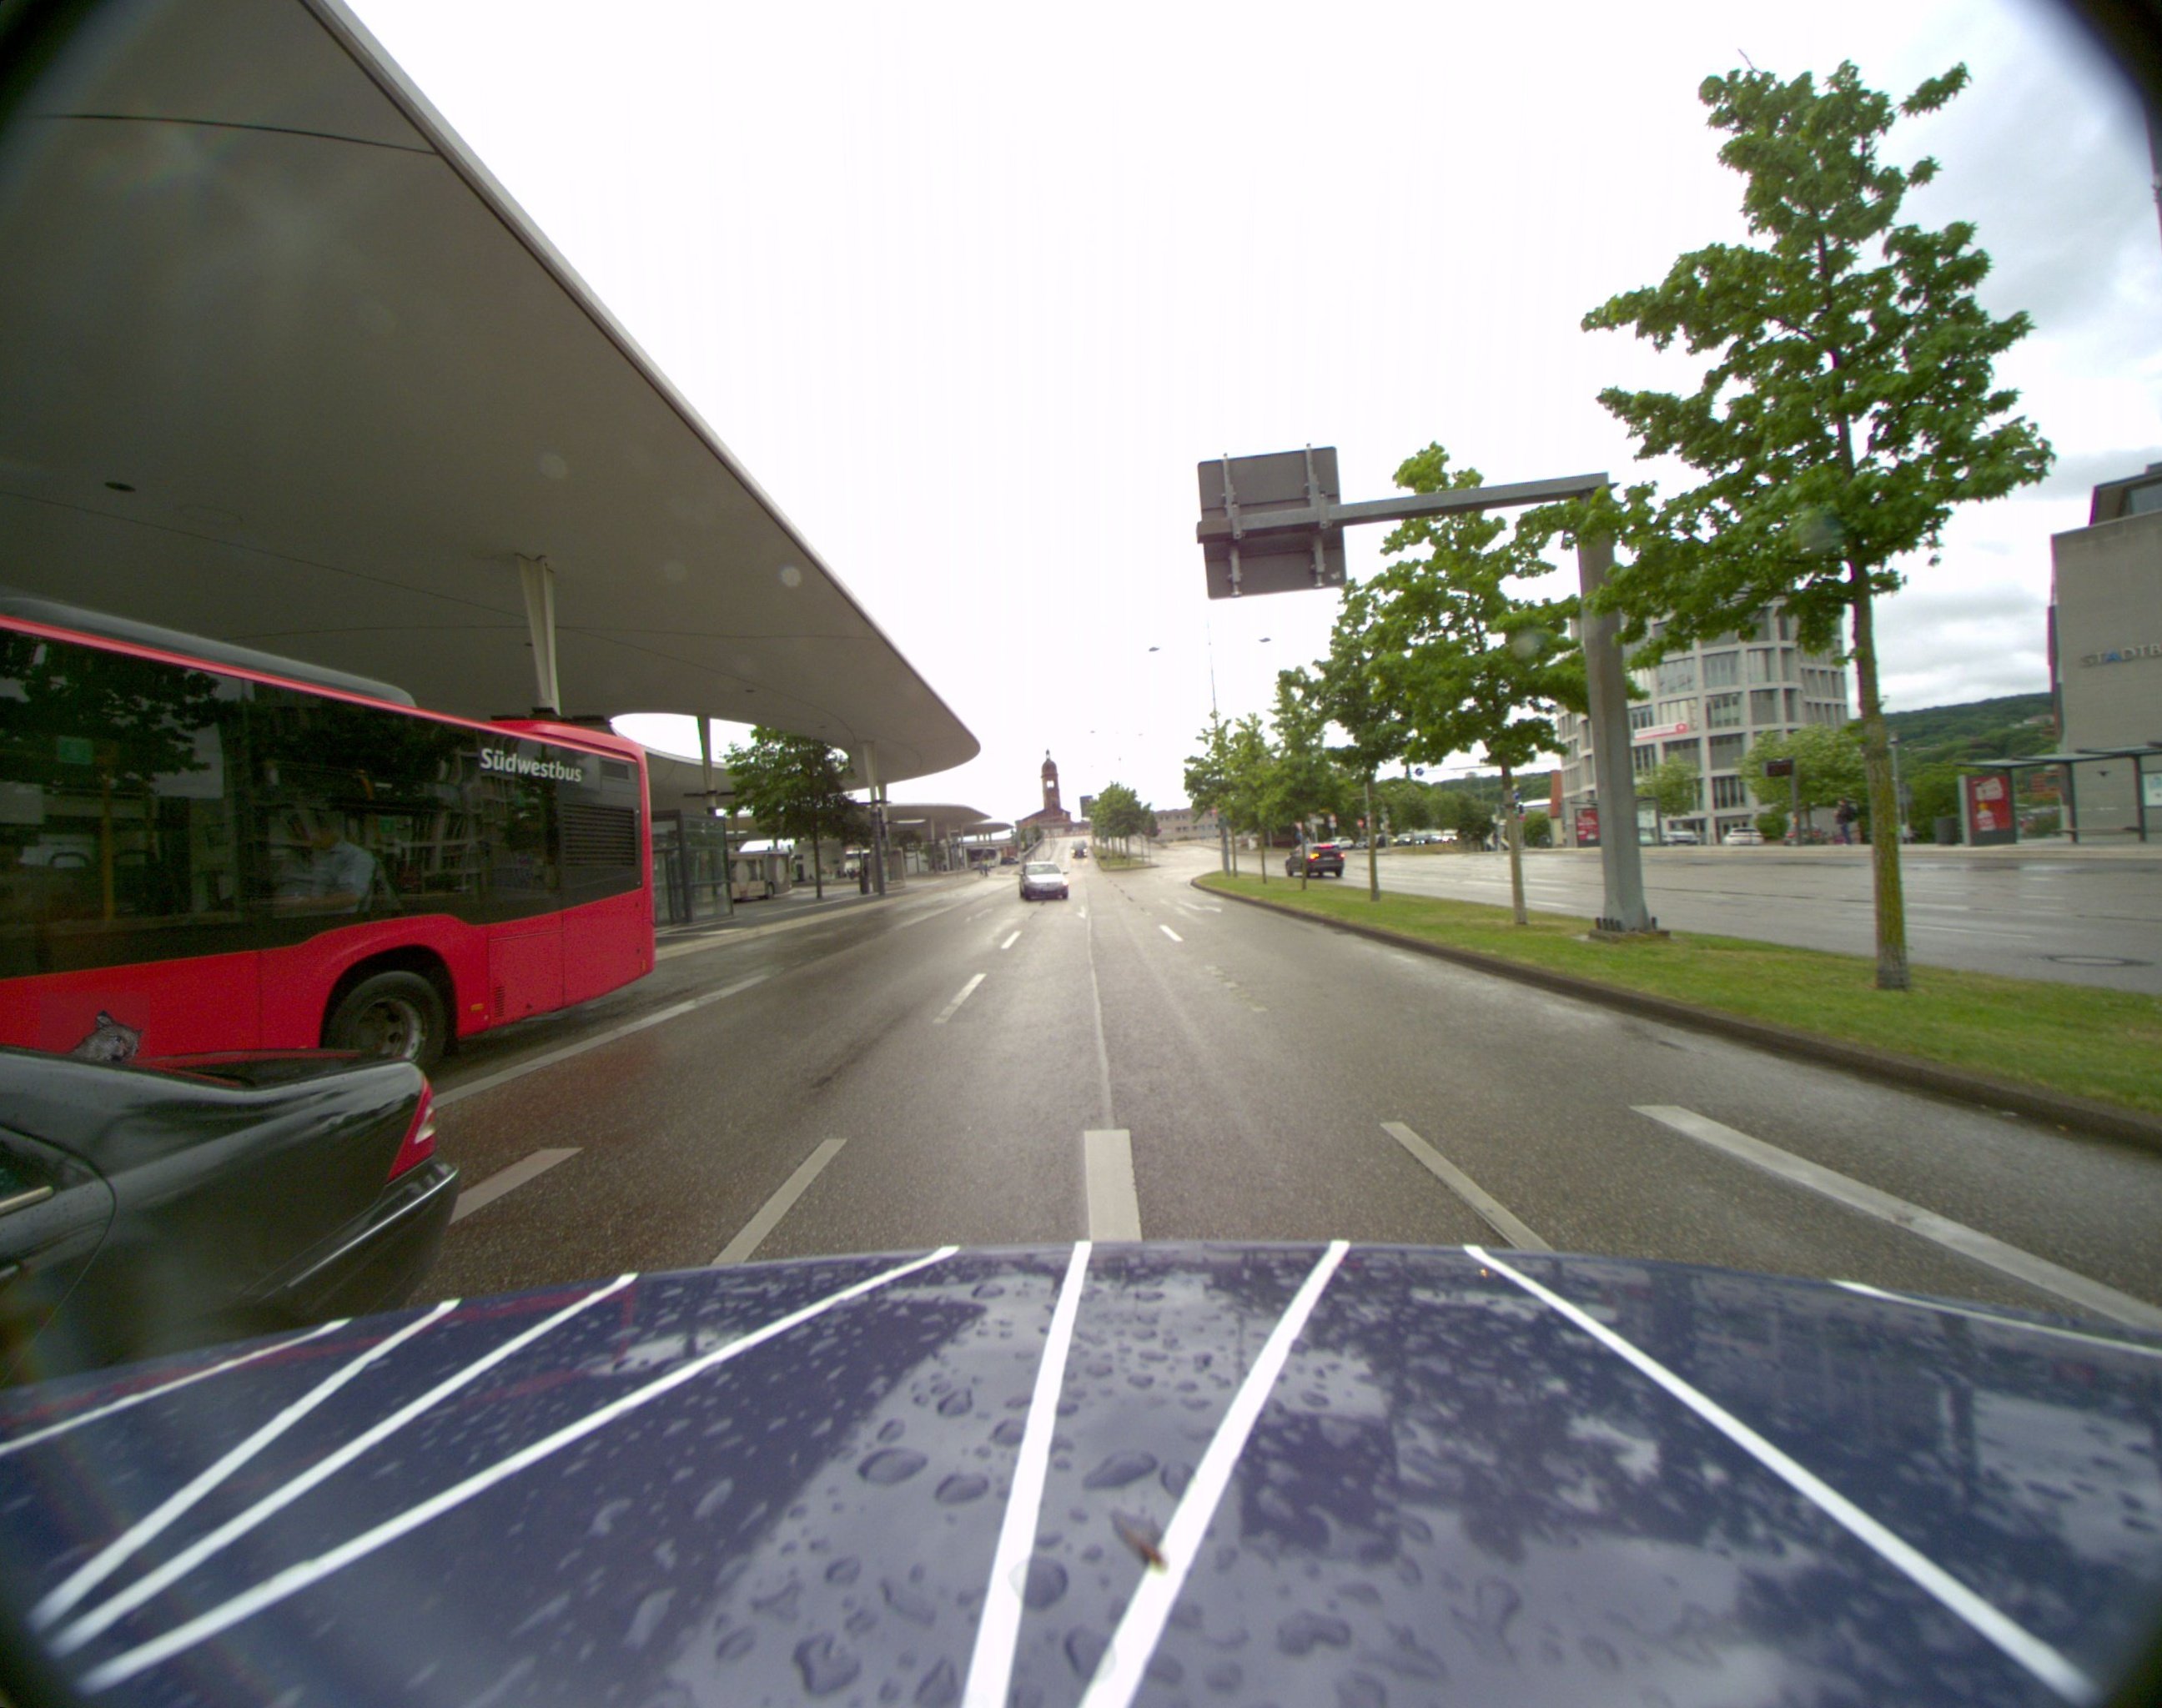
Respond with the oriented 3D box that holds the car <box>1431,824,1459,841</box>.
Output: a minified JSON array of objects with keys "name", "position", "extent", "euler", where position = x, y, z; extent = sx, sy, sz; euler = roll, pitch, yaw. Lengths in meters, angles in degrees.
[{"name":"car","position":[46.859,-2.789,97.807],"extent":[1.995,2.002,4.008],"euler":[-2,0,44]}]

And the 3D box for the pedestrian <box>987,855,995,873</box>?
[{"name":"pedestrian","position":[-8.009,0.870,67.690],"extent":[0.557,1.614,0.552],"euler":[-3,1,1]}]

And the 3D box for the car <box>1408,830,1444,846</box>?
[{"name":"car","position":[41.923,-1.944,92.302],"extent":[4.925,1.702,2.190],"euler":[-3,1,-43]}]

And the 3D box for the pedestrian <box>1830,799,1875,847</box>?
[{"name":"pedestrian","position":[29.252,-1.185,28.824],"extent":[0.787,1.750,0.972],"euler":[-3,1,-28]}]

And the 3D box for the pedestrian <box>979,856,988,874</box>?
[{"name":"pedestrian","position":[-8.680,0.967,67.745],"extent":[0.576,1.614,0.588],"euler":[-3,1,1]}]

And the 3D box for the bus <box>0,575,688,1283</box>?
[{"name":"bus","position":[-6.182,0.365,4.978],"extent":[2.750,3.155,8.120],"euler":[-3,0,1]}]

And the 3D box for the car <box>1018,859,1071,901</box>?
[{"name":"car","position":[-1.507,0.972,30.051],"extent":[1.628,1.450,3.732],"euler":[-3,0,-9]}]

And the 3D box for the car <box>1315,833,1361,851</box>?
[{"name":"car","position":[27.948,-1.304,82.622],"extent":[4.924,1.702,2.191],"euler":[-3,1,-35]}]

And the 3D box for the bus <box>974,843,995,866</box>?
[{"name":"bus","position":[-14.301,0.067,113.267],"extent":[2.675,3.111,9.712],"euler":[-3,0,-5]}]

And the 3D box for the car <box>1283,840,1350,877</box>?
[{"name":"car","position":[11.618,0.201,37.799],"extent":[1.826,1.630,4.599],"euler":[-3,0,0]}]

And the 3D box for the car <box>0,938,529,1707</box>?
[{"name":"car","position":[-2.840,1.160,0.344],"extent":[1.750,1.472,4.434],"euler":[-6,1,1]}]

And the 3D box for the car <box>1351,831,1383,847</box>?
[{"name":"car","position":[33.460,-1.735,88.798],"extent":[1.995,1.783,4.008],"euler":[-2,0,45]}]

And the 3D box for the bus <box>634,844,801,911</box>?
[{"name":"bus","position":[-19.812,1.081,42.811],"extent":[3.003,3.088,12.355],"euler":[-3,0,1]}]

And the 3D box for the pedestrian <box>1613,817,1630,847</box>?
[{"name":"pedestrian","position":[30.055,-1.233,42.247],"extent":[0.520,1.625,0.536],"euler":[-2,1,1]}]

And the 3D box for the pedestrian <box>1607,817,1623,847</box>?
[{"name":"pedestrian","position":[29.506,-1.206,42.013],"extent":[0.504,1.625,0.502],"euler":[-2,1,1]}]

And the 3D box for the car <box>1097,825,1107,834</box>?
[{"name":"car","position":[4.606,-5.214,163.436],"extent":[1.998,1.765,4.000],"euler":[-3,0,1]}]

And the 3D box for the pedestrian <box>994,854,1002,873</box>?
[{"name":"pedestrian","position":[-7.418,0.847,67.520],"extent":[0.557,1.614,0.552],"euler":[-3,1,1]}]

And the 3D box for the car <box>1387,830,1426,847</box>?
[{"name":"car","position":[37.234,-1.813,86.843],"extent":[4.925,1.702,2.190],"euler":[-3,1,-43]}]

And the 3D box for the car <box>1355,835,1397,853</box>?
[{"name":"car","position":[31.634,-1.115,81.489],"extent":[4.925,1.702,2.190],"euler":[-3,1,-43]}]

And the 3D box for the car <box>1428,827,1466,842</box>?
[{"name":"car","position":[49.771,-2.640,103.456],"extent":[2.196,1.702,4.912],"euler":[-3,0,-10]}]

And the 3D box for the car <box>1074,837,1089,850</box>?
[{"name":"car","position":[0.078,-1.369,101.406],"extent":[1.704,1.656,3.998],"euler":[-2,1,-2]}]

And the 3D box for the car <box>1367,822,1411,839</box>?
[{"name":"car","position":[42.274,-3.221,104.268],"extent":[2.315,2.002,5.021],"euler":[-3,1,-41]}]
